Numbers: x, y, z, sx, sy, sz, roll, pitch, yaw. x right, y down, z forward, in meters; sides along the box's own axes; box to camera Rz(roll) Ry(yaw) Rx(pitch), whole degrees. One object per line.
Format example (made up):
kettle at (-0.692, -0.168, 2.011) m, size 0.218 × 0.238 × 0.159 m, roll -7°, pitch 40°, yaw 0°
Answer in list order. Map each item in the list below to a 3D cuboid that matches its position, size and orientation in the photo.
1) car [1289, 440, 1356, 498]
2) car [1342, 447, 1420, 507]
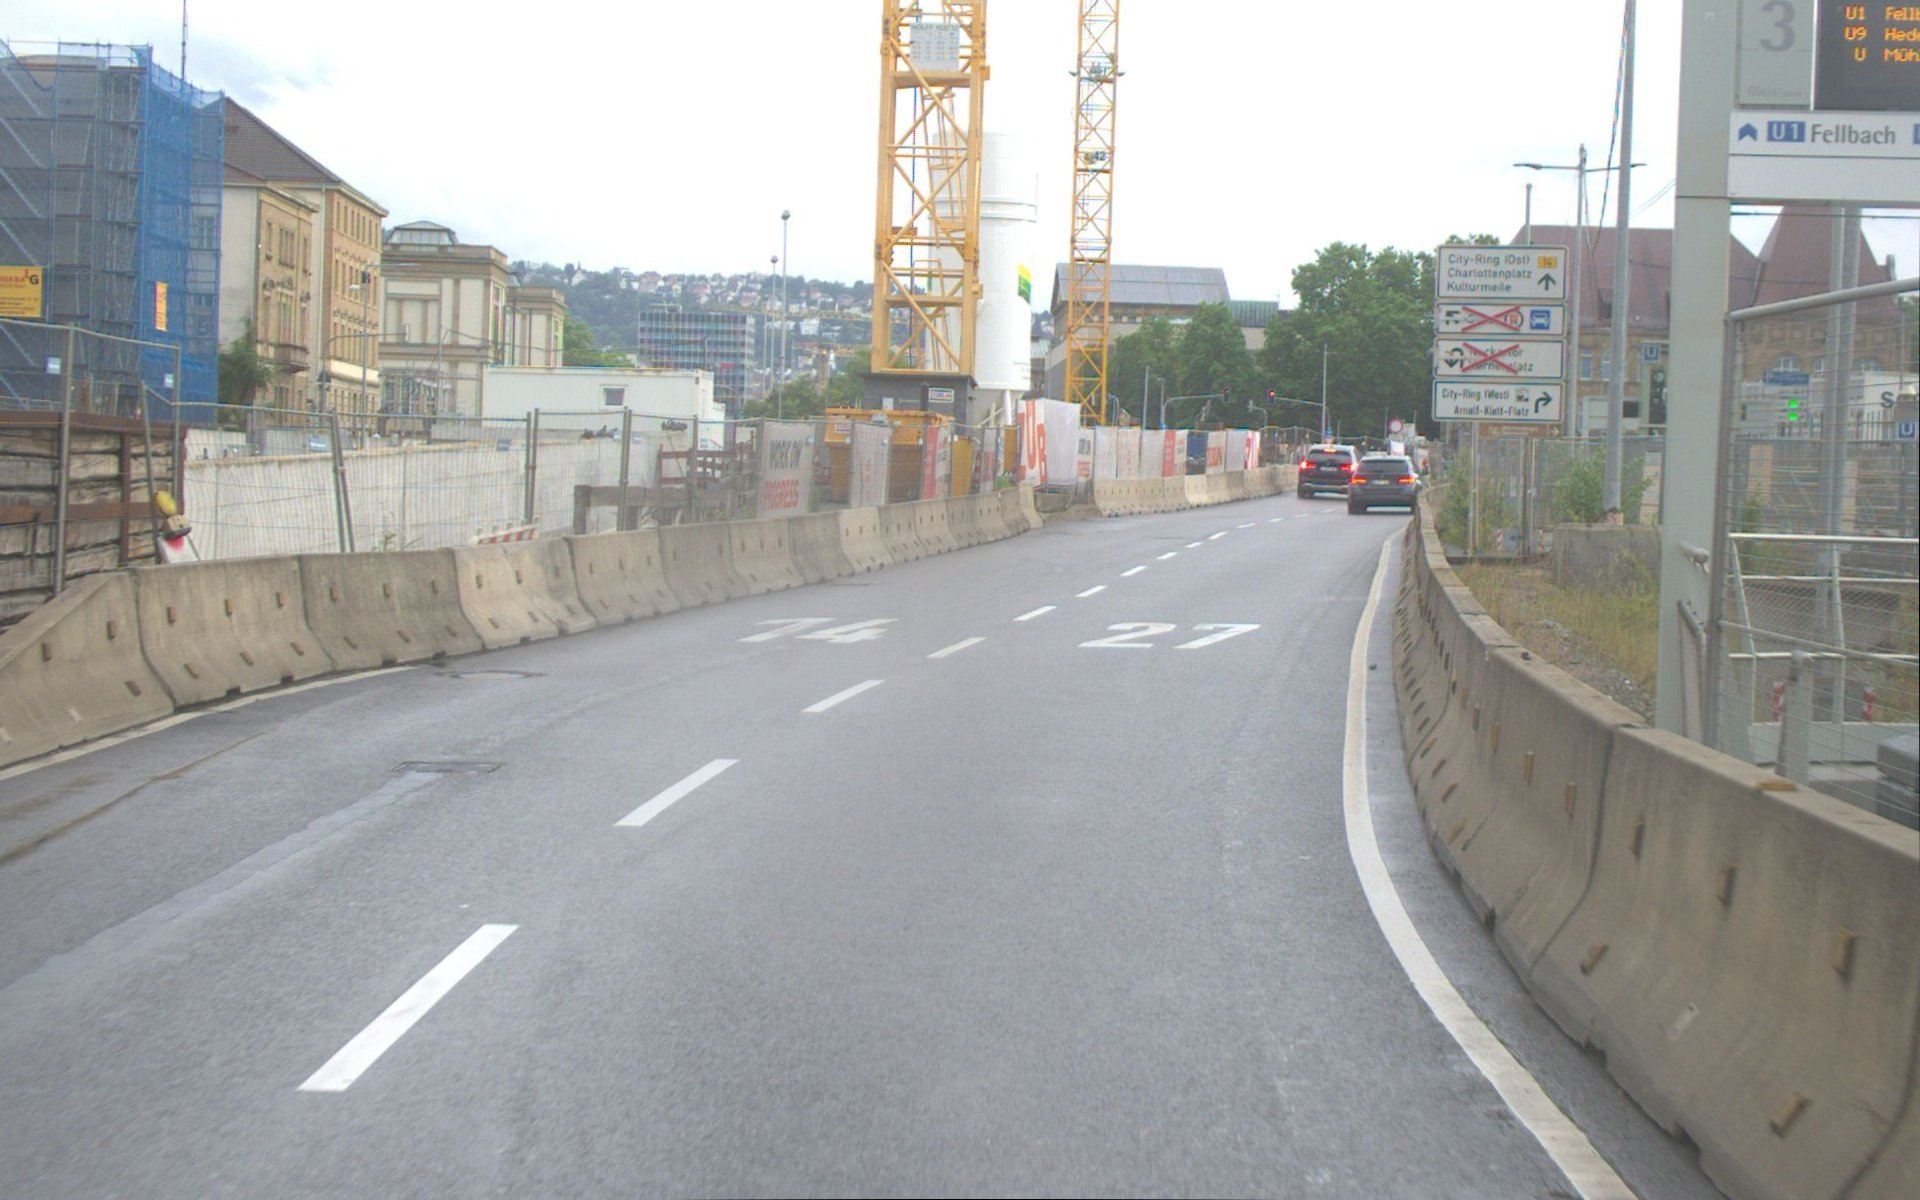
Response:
car at (11.054, -3.985, 104.660) m, size 1.863 × 1.655 × 4.655 m, roll 3°, pitch 3°, yaw 7°
car at (10.496, -3.052, 85.781) m, size 1.863 × 1.428 × 4.655 m, roll -1°, pitch 2°, yaw 7°
